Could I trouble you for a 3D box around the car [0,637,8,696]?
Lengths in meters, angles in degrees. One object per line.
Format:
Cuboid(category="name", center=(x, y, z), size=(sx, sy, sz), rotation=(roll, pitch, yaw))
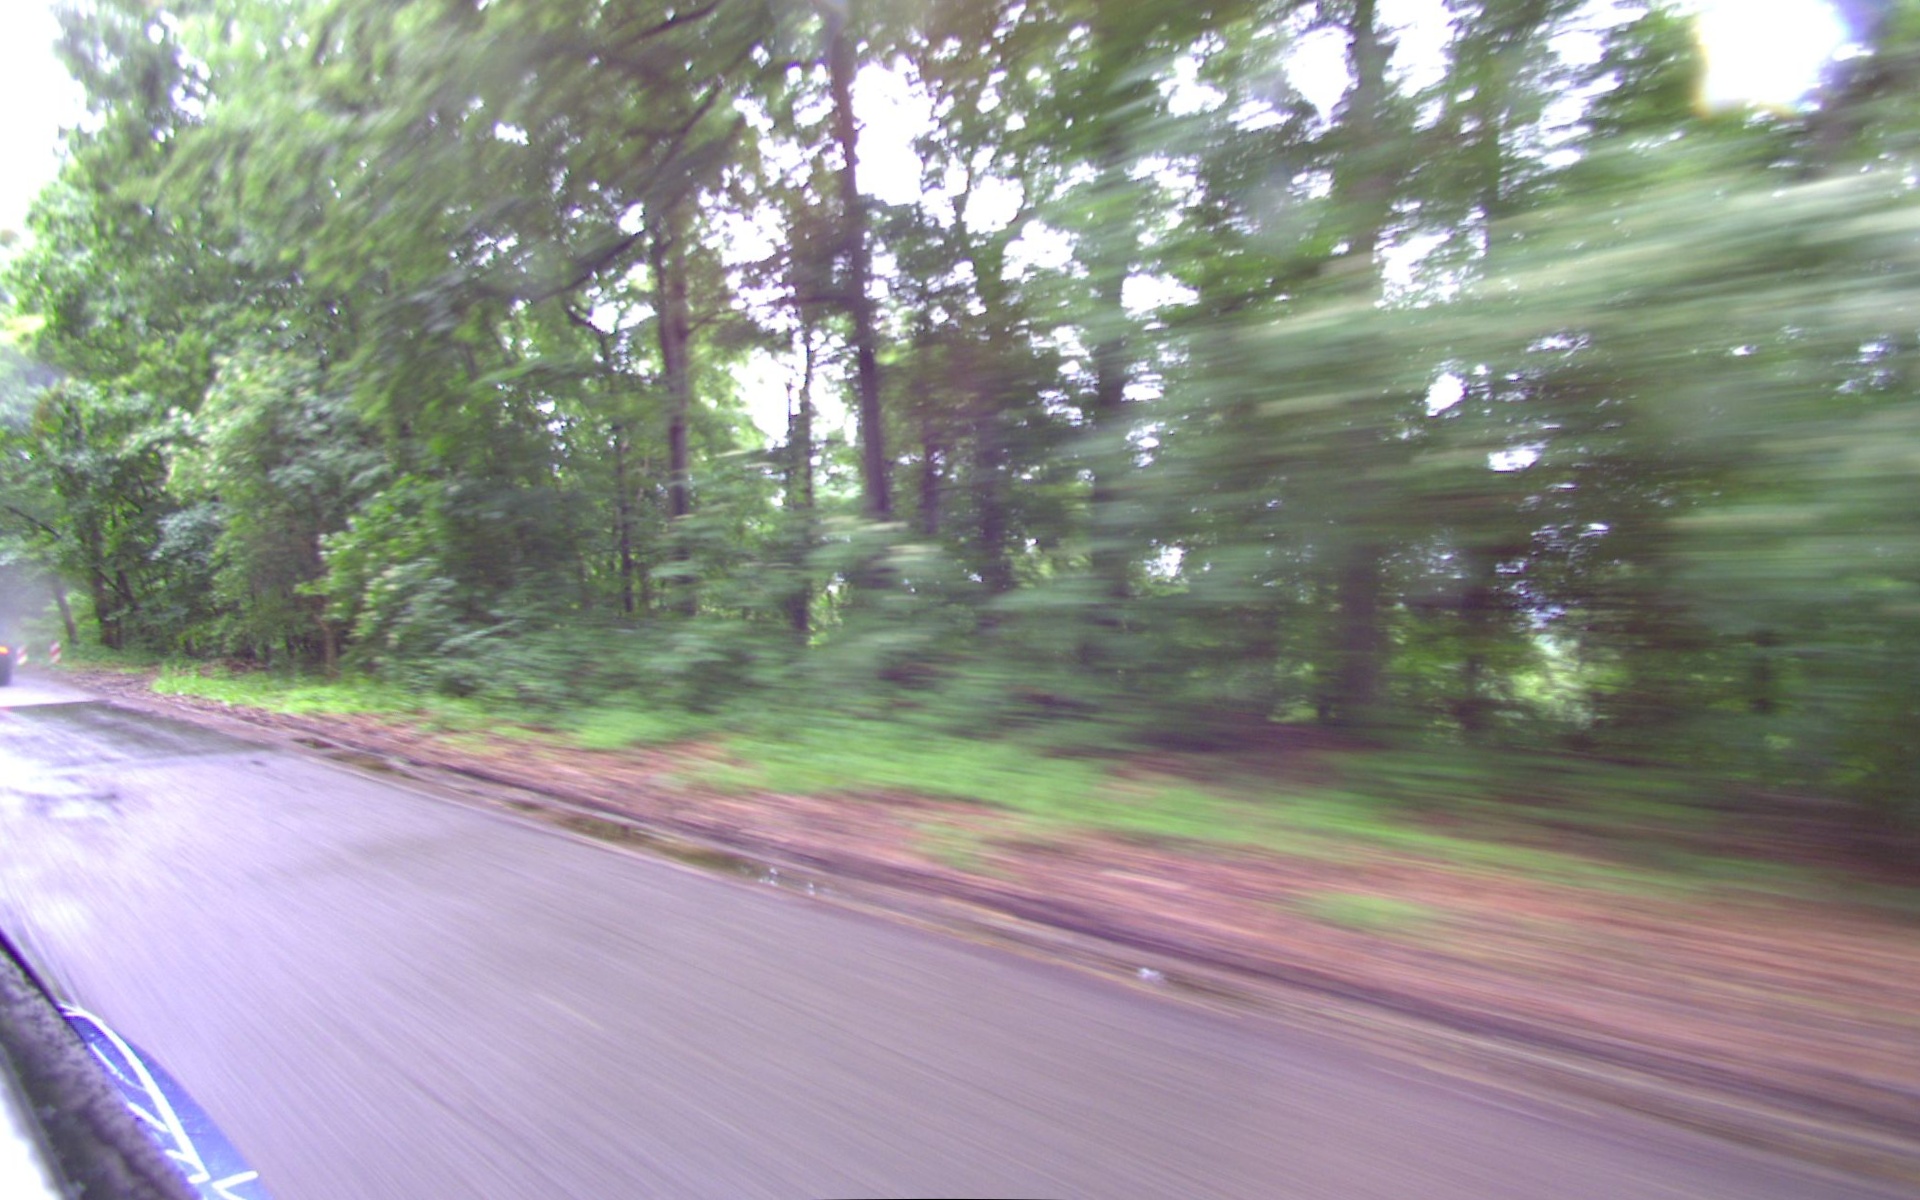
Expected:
Cuboid(category="car", center=(-26.216, 1.750, 26.124), size=(3.883, 1.486, 1.698), rotation=(-2, 1, 37))
